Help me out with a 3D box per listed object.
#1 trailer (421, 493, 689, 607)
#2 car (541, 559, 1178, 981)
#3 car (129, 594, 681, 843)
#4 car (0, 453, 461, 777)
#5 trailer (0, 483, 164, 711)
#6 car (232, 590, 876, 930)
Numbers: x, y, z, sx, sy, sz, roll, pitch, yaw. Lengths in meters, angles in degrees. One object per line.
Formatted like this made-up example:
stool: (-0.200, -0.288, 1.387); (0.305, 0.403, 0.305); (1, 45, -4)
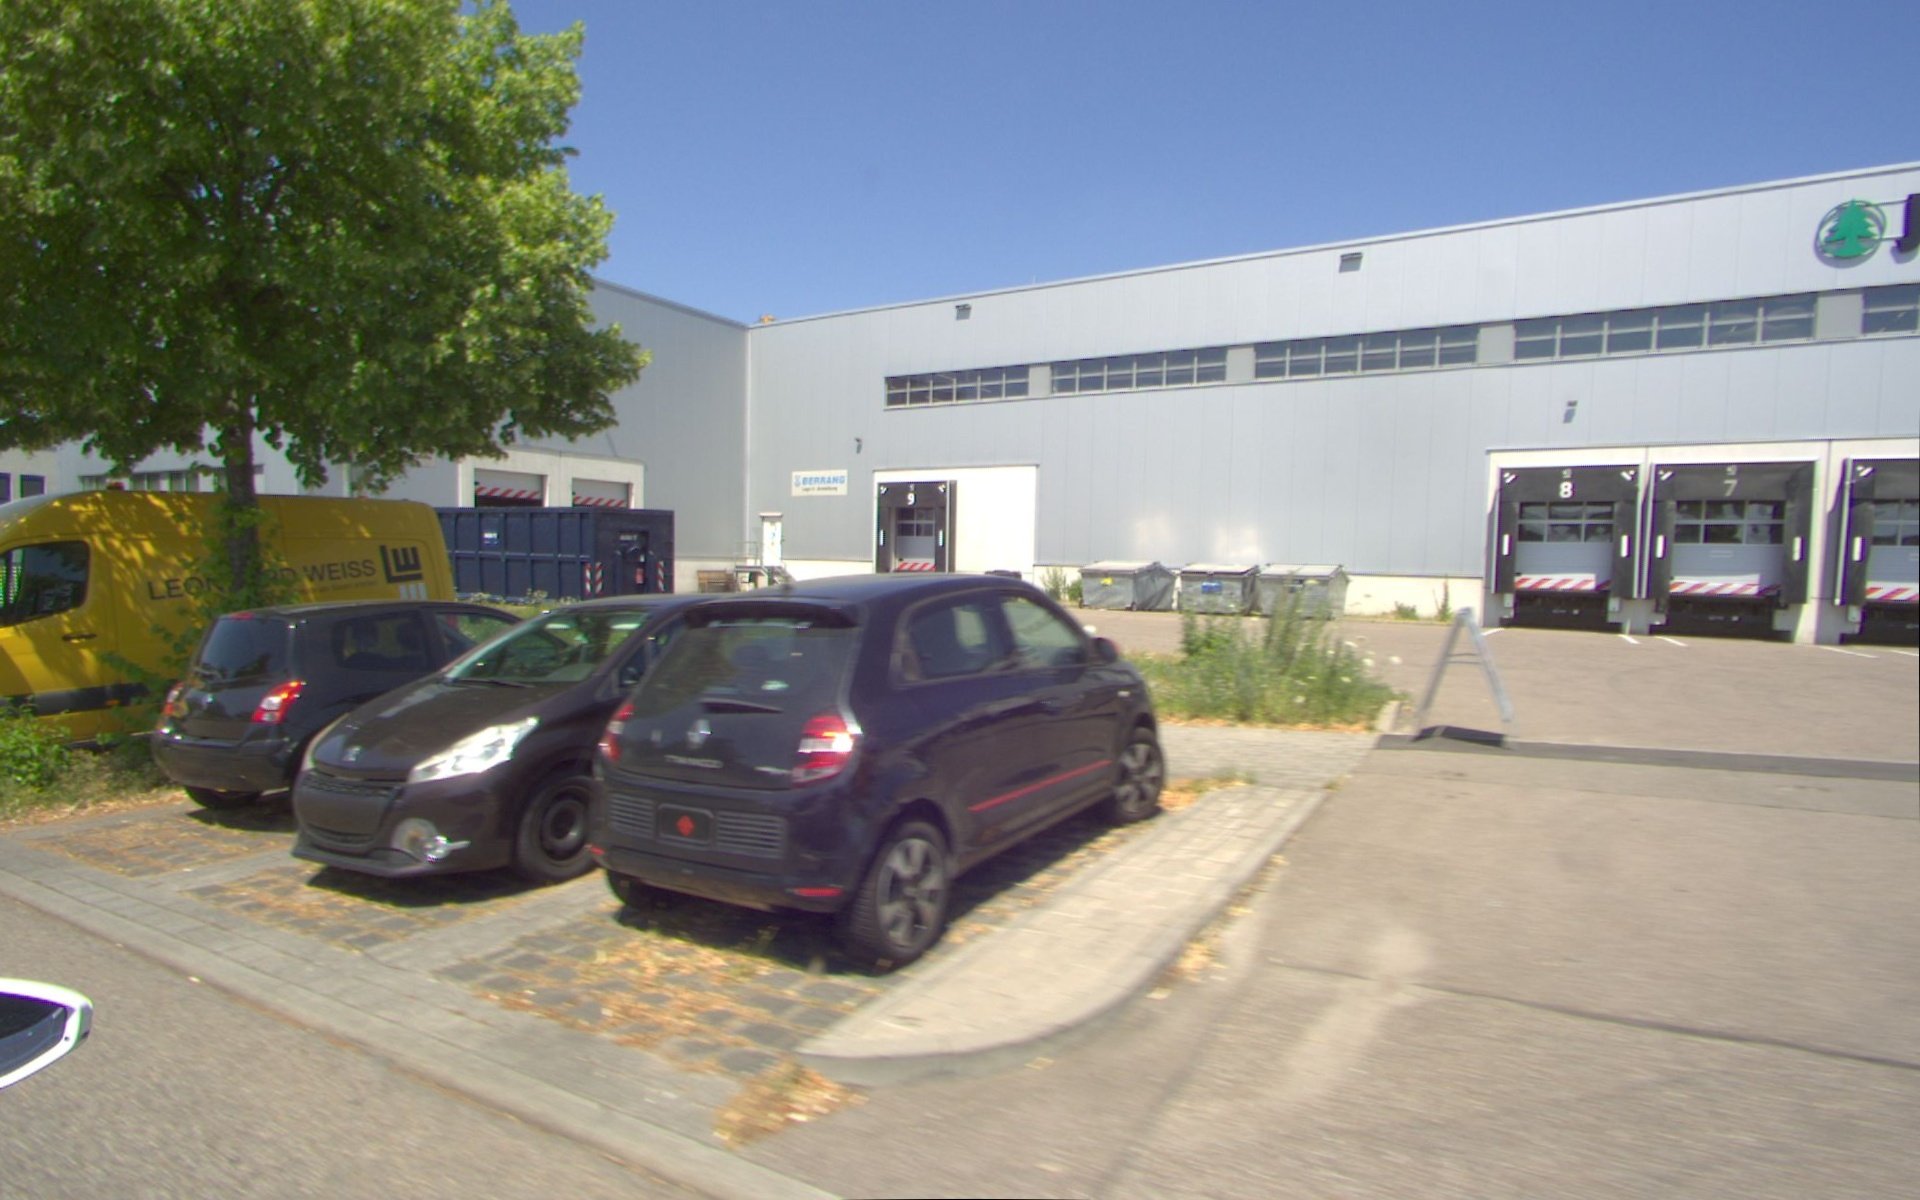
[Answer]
trailer: (-10.517, -1.322, 25.673); (7.306, 2.454, 2.653); (5, 3, 34)
car: (-0.182, 0.542, 5.521); (1.603, 1.483, 3.651); (1, 3, 32)
car: (-4.162, 0.716, 8.096); (1.603, 1.498, 3.596); (1, 1, 30)
car: (-8.395, 0.065, 10.214); (1.969, 2.771, 5.768); (2, 3, 30)
trailer: (-14.418, -0.080, 14.385); (5.433, 2.897, 2.652); (1, 3, 28)
car: (-2.253, 0.707, 6.572); (1.566, 1.527, 3.765); (1, 1, 29)
